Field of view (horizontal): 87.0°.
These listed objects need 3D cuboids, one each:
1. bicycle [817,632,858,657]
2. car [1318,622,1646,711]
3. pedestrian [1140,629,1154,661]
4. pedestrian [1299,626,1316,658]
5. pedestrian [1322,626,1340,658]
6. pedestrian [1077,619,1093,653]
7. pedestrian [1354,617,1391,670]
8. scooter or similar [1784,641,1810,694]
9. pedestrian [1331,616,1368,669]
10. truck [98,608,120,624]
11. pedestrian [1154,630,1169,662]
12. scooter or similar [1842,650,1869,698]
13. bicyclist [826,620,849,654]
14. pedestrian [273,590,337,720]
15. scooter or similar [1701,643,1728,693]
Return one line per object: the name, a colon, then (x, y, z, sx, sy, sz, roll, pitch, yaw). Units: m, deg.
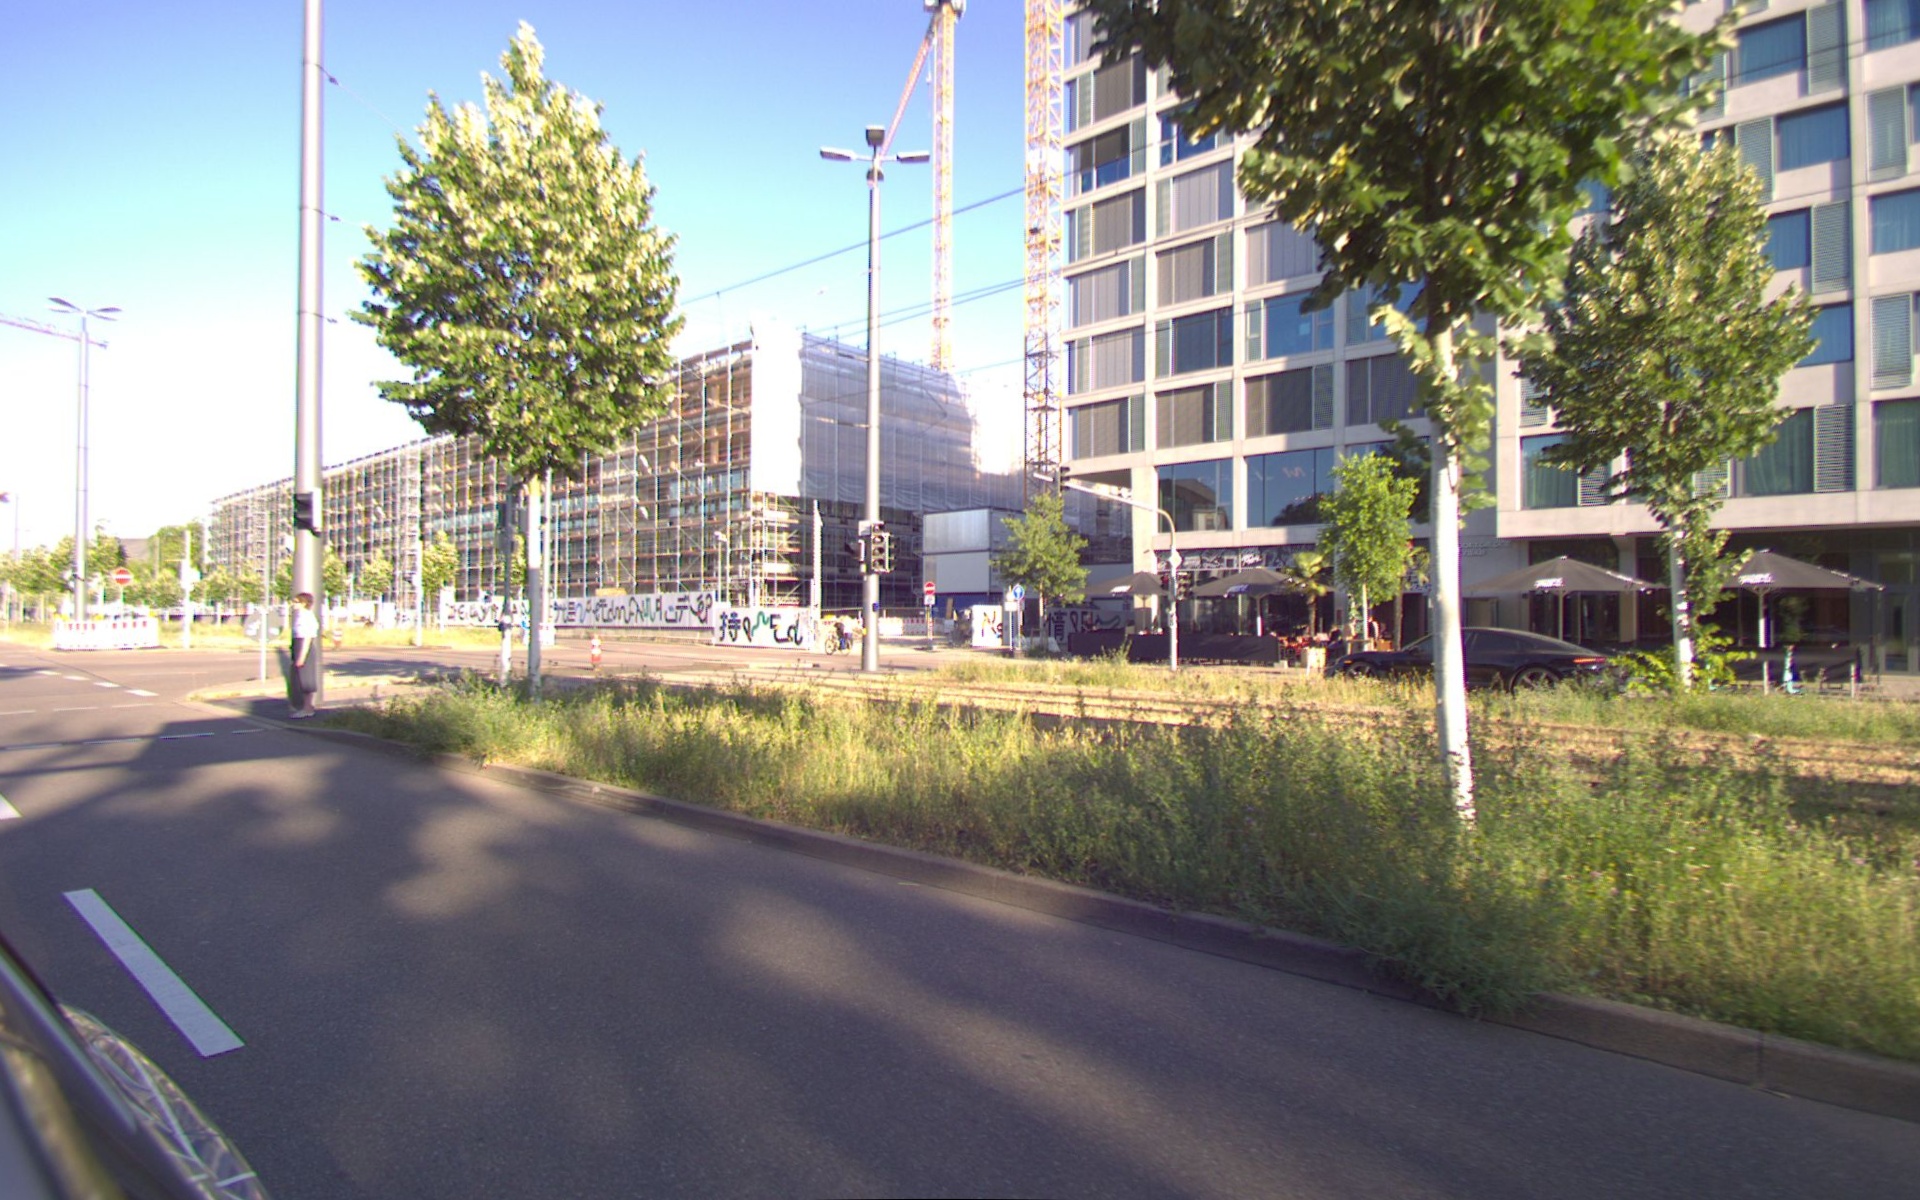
bicycle: (-5.413, 1.943, 44.684, 2.077, 1.075, 0.618, -1, -2, 42)
car: (9.040, 1.075, 17.816, 4.847, 1.354, 1.871, -1, -2, 41)
pedestrian: (7.295, 1.752, 39.419, 0.432, 1.203, 0.360, -1, -2, 38)
pedestrian: (13.469, 1.609, 39.237, 0.497, 1.231, 0.427, -1, -2, 41)
pedestrian: (14.149, 1.598, 38.587, 0.497, 1.231, 0.427, -1, -2, 41)
pedestrian: (5.504, 1.575, 44.579, 0.568, 1.510, 0.589, 0, -1, -6)
pedestrian: (13.565, 1.413, 33.247, 0.858, 1.734, 0.805, 1, -2, -39)
scooter or similar: (19.501, 1.558, 23.570, 0.406, 1.181, 1.230, -1, -2, 42)
pedestrian: (13.021, 1.422, 33.830, 0.858, 1.734, 0.805, 1, -2, -39)
truck: (-135.668, 2.554, 161.246, 4.740, 2.593, 2.114, -1, -2, 43)
pedestrian: (7.665, 1.744, 38.517, 0.432, 1.203, 0.360, -1, -2, 38)
scooter or similar: (20.036, 1.639, 22.641, 0.435, 1.027, 1.230, -1, -2, 42)
bicyclist: (-5.401, 1.623, 44.678, 0.851, 1.476, 0.618, -1, -2, 42)
pedestrian: (-8.938, 0.734, 13.814, 0.591, 1.712, 0.714, 2, -2, -44)
scooter or similar: (18.364, 1.640, 24.632, 0.406, 1.181, 1.230, -1, -2, 42)
